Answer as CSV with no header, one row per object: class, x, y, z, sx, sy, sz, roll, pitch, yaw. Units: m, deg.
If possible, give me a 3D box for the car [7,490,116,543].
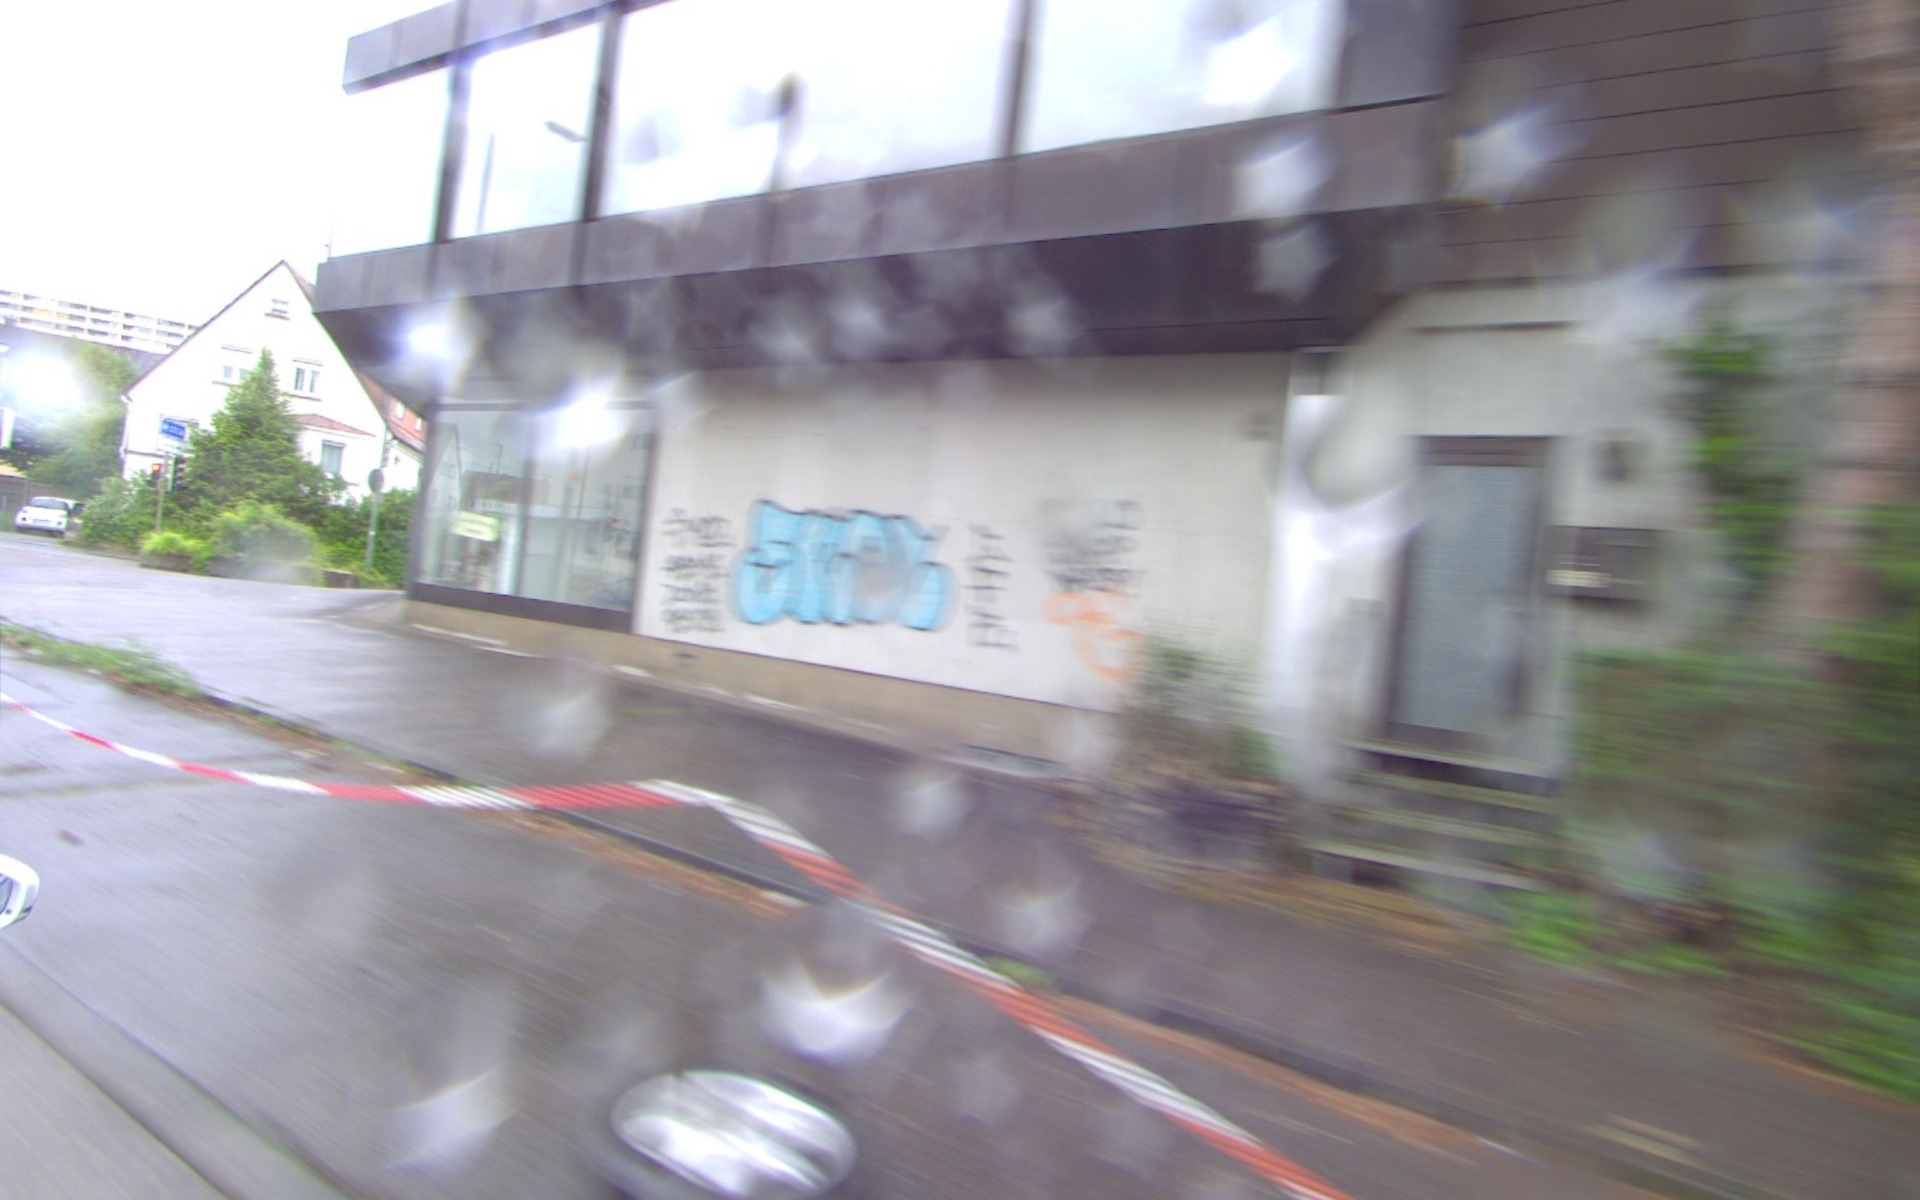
car,-34.479,-3.159,38.739,1.722,1.532,3.980,9,-1,-22
